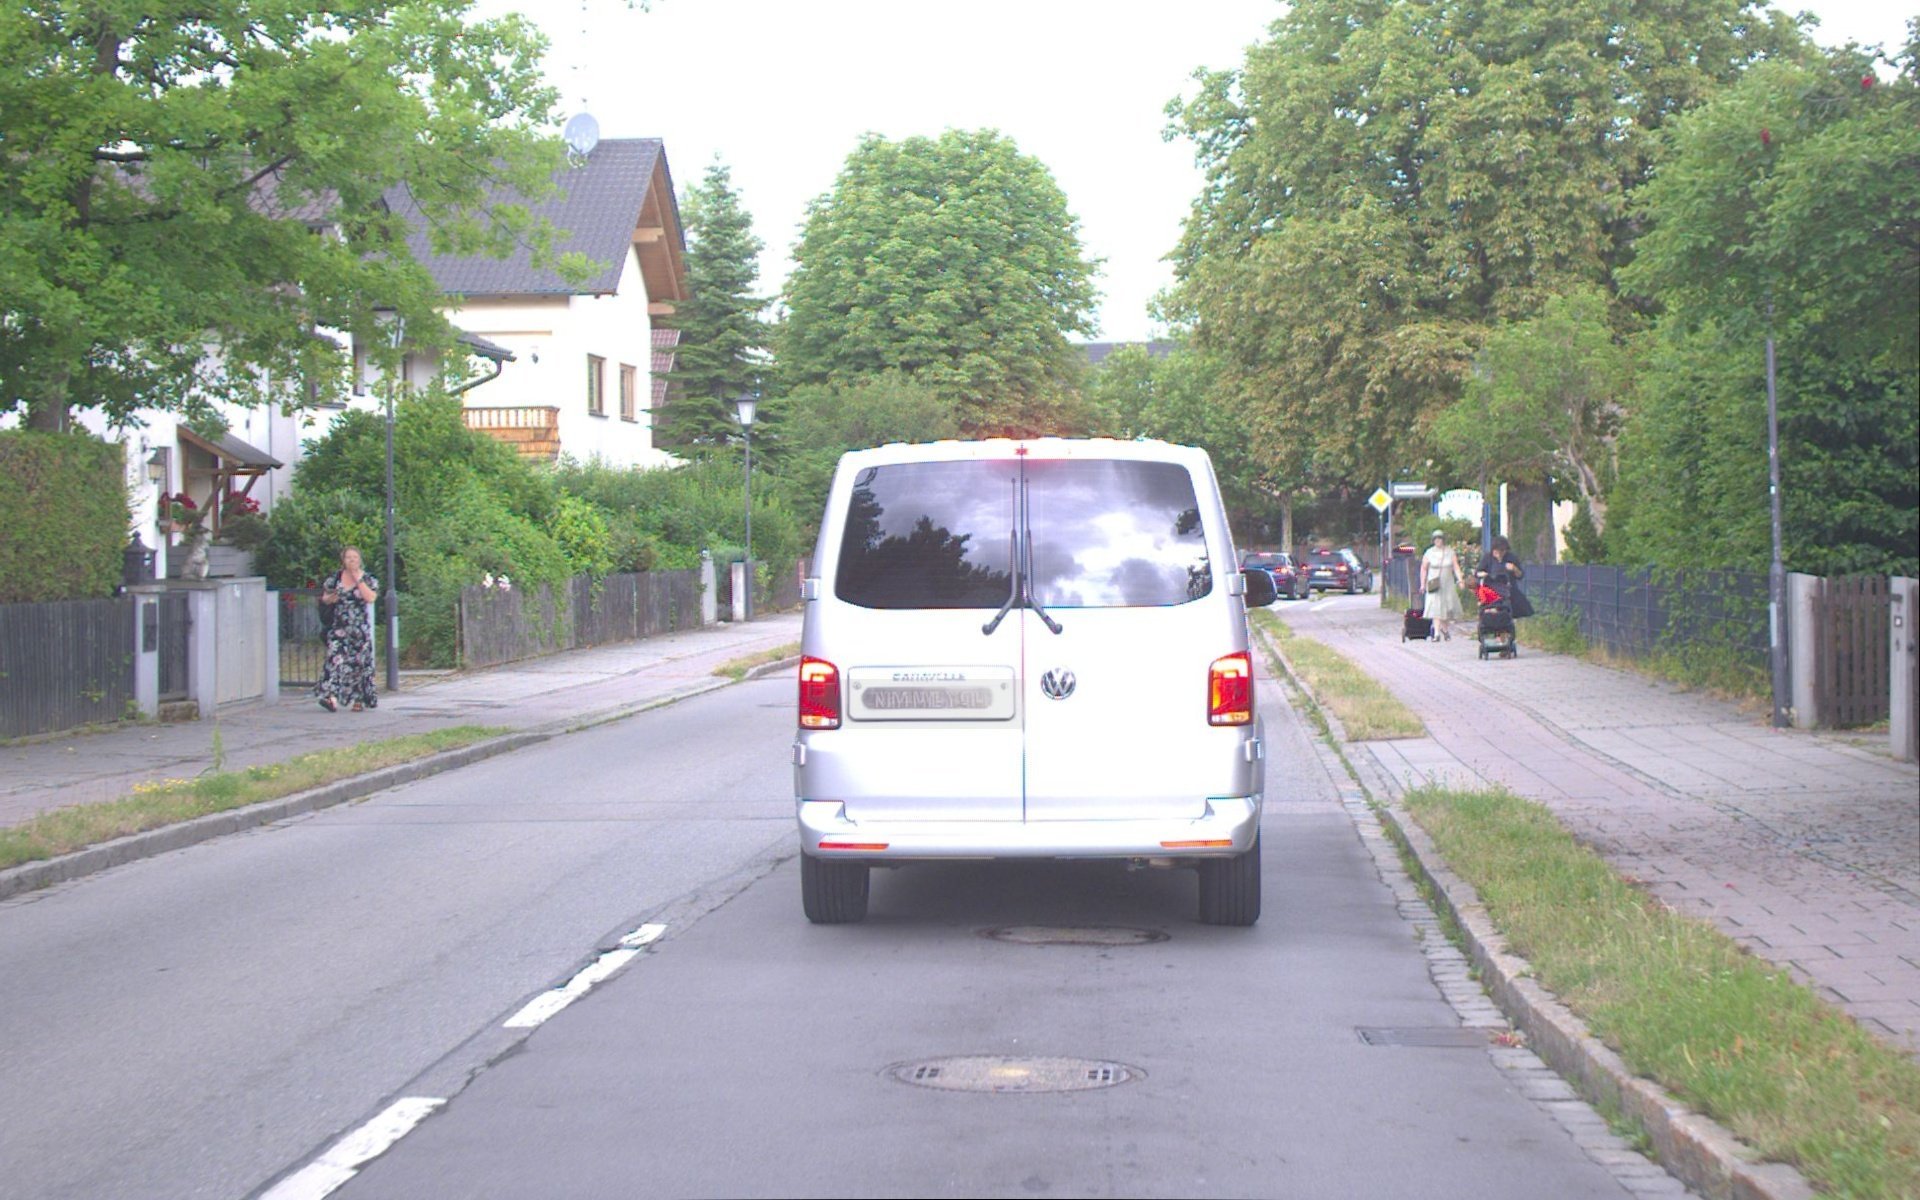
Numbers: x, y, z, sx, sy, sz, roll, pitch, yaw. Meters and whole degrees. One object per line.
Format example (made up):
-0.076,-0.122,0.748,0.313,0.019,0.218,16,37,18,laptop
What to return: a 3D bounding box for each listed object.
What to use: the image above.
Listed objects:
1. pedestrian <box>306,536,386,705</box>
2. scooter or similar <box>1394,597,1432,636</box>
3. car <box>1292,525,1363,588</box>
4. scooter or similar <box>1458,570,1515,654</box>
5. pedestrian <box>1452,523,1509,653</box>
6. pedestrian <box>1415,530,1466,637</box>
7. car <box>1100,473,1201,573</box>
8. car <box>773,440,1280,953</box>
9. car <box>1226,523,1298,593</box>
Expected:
-5.691,0.188,31.885,0.622,1.544,0.522,1,1,0,pedestrian
6.616,0.242,50.221,0.474,0.543,0.459,1,1,0,scooter or similar
12.033,-1.433,112.345,1.994,2.007,3.998,-1,1,10,car
6.233,0.141,40.715,0.551,0.968,0.620,1,1,0,scooter or similar
6.270,-0.149,41.412,0.551,1.544,0.612,1,1,0,pedestrian
6.933,-0.238,49.623,0.622,1.518,0.579,1,1,0,pedestrian
4.084,-1.619,73.161,1.994,2.007,3.999,1,1,5,car
0.354,0.335,14.909,1.888,1.905,4.000,1,1,3,car
9.003,-1.255,102.217,1.994,2.007,3.999,-1,1,7,car
